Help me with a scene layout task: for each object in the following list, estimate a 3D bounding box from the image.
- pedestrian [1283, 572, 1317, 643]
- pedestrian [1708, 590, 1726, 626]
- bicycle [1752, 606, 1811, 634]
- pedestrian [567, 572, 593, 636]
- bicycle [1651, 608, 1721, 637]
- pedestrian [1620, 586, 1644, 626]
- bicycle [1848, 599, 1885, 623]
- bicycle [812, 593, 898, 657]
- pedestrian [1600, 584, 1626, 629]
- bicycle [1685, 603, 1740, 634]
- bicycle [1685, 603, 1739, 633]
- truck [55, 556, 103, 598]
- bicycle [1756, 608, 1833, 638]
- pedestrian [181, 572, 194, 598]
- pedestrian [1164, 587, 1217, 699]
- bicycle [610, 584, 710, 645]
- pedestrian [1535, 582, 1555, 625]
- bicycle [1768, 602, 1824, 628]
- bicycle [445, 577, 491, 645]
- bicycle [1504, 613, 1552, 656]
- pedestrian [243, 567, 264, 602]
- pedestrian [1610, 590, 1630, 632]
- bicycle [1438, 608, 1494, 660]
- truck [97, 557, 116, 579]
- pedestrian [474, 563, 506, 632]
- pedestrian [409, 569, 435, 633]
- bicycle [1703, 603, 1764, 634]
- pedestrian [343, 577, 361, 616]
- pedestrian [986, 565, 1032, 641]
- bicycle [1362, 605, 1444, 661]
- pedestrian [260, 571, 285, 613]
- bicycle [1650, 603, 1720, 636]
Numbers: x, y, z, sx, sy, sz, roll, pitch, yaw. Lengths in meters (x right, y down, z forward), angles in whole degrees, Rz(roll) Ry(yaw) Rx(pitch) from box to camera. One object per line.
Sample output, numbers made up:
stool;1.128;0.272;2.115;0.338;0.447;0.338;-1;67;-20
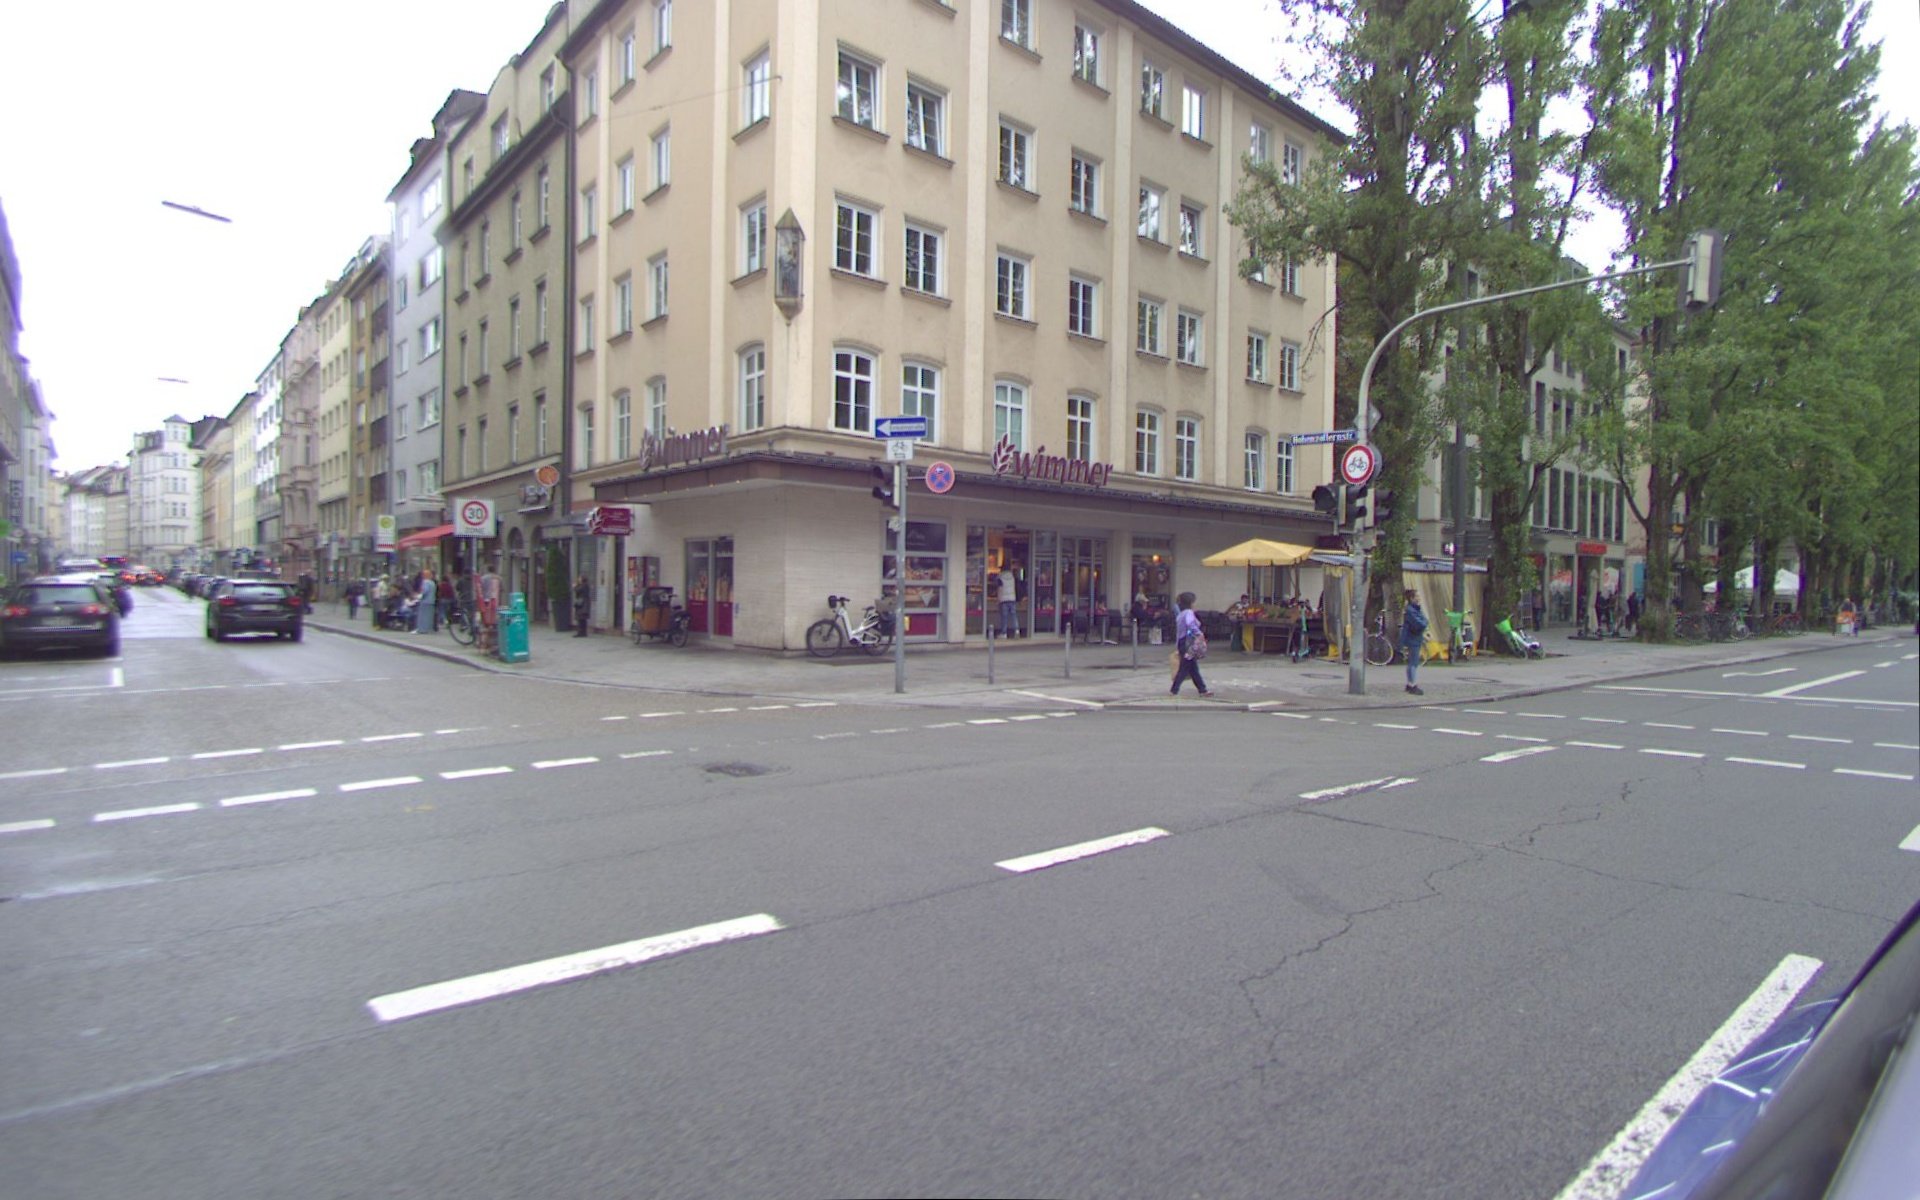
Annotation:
pedestrian;8.233;0.173;24.509;0.526;1.694;0.542;1;0;-34
pedestrian;37.370;0.403;49.962;0.684;1.764;0.566;1;0;-38
bicycle;34.141;0.819;42.067;0.385;1.022;1.847;1;2;-32
pedestrian;-9.465;0.100;25.187;0.437;1.577;0.583;0;-1;-40
bicycle;25.881;0.781;36.111;1.997;0.957;0.282;1;1;42
pedestrian;31.834;0.300;47.939;0.806;1.877;0.753;1;0;-40
bicycle;54.638;0.655;61.030;0.819;1.429;2.580;0;0;22
bicycle;-2.028;0.464;19.716;1.781;1.185;0.435;0;0;-43
pedestrian;27.390;0.270;42.474;0.889;1.874;0.658;1;1;-39
bicycle;28.811;0.713;38.789;1.669;1.131;0.282;2;1;38
bicycle;29.062;0.690;39.138;1.657;1.121;0.391;2;1;38
truck;-43.443;-1.137;49.932;1.728;2.006;3.994;0;1;-41
bicycle;38.086;1.025;46.204;0.948;1.230;2.576;1;1;-40
pedestrian;-46.794;-0.895;61.286;0.572;1.571;0.670;1;0;-41
pedestrian;3.271;0.592;14.389;0.608;1.536;0.769;0;2;3
bicycle;-6.705;0.296;22.473;0.982;1.268;2.975;0;0;-41
pedestrian;24.714;0.135;42.731;0.630;1.790;0.547;1;0;-41
bicycle;38.950;0.671;47.178;0.674;1.141;1.901;0;1;-40
bicycle;-10.598;0.210;21.769;0.472;1.404;1.832;0;1;-39
bicycle;13.752;0.812;24.470;1.740;0.988;0.509;0;1;-43
pedestrian;-37.477;-0.827;53.670;0.818;1.826;0.867;1;0;-40
pedestrian;29.227;0.478;44.830;0.662;1.807;0.566;1;0;-40
bicycle;10.968;0.707;21.912;1.740;1.061;0.509;0;1;-43
truck;-120.335;-4.441;142.683;1.961;3.038;5.478;0;1;-42
pedestrian;-12.608;-0.066;27.121;0.663;1.790;1.003;0;0;-32
pedestrian;-14.256;0.024;26.831;0.573;1.665;0.445;0;0;-32
bicycle;30.159;0.710;39.500;1.864;1.149;0.335;2;1;41
pedestrian;-22.601;-0.122;37.621;0.573;1.451;0.445;0;0;-32
pedestrian;1.149;0.057;23.611;0.845;1.723;0.666;-2;2;-40
bicycle;9.008;0.673;20.561;1.774;1.084;0.406;0;-4;-25
pedestrian;-29.688;-0.344;43.710;0.818;1.826;0.867;0;0;-40
bicycle;25.658;0.688;35.848;1.996;1.096;0.282;2;1;40
